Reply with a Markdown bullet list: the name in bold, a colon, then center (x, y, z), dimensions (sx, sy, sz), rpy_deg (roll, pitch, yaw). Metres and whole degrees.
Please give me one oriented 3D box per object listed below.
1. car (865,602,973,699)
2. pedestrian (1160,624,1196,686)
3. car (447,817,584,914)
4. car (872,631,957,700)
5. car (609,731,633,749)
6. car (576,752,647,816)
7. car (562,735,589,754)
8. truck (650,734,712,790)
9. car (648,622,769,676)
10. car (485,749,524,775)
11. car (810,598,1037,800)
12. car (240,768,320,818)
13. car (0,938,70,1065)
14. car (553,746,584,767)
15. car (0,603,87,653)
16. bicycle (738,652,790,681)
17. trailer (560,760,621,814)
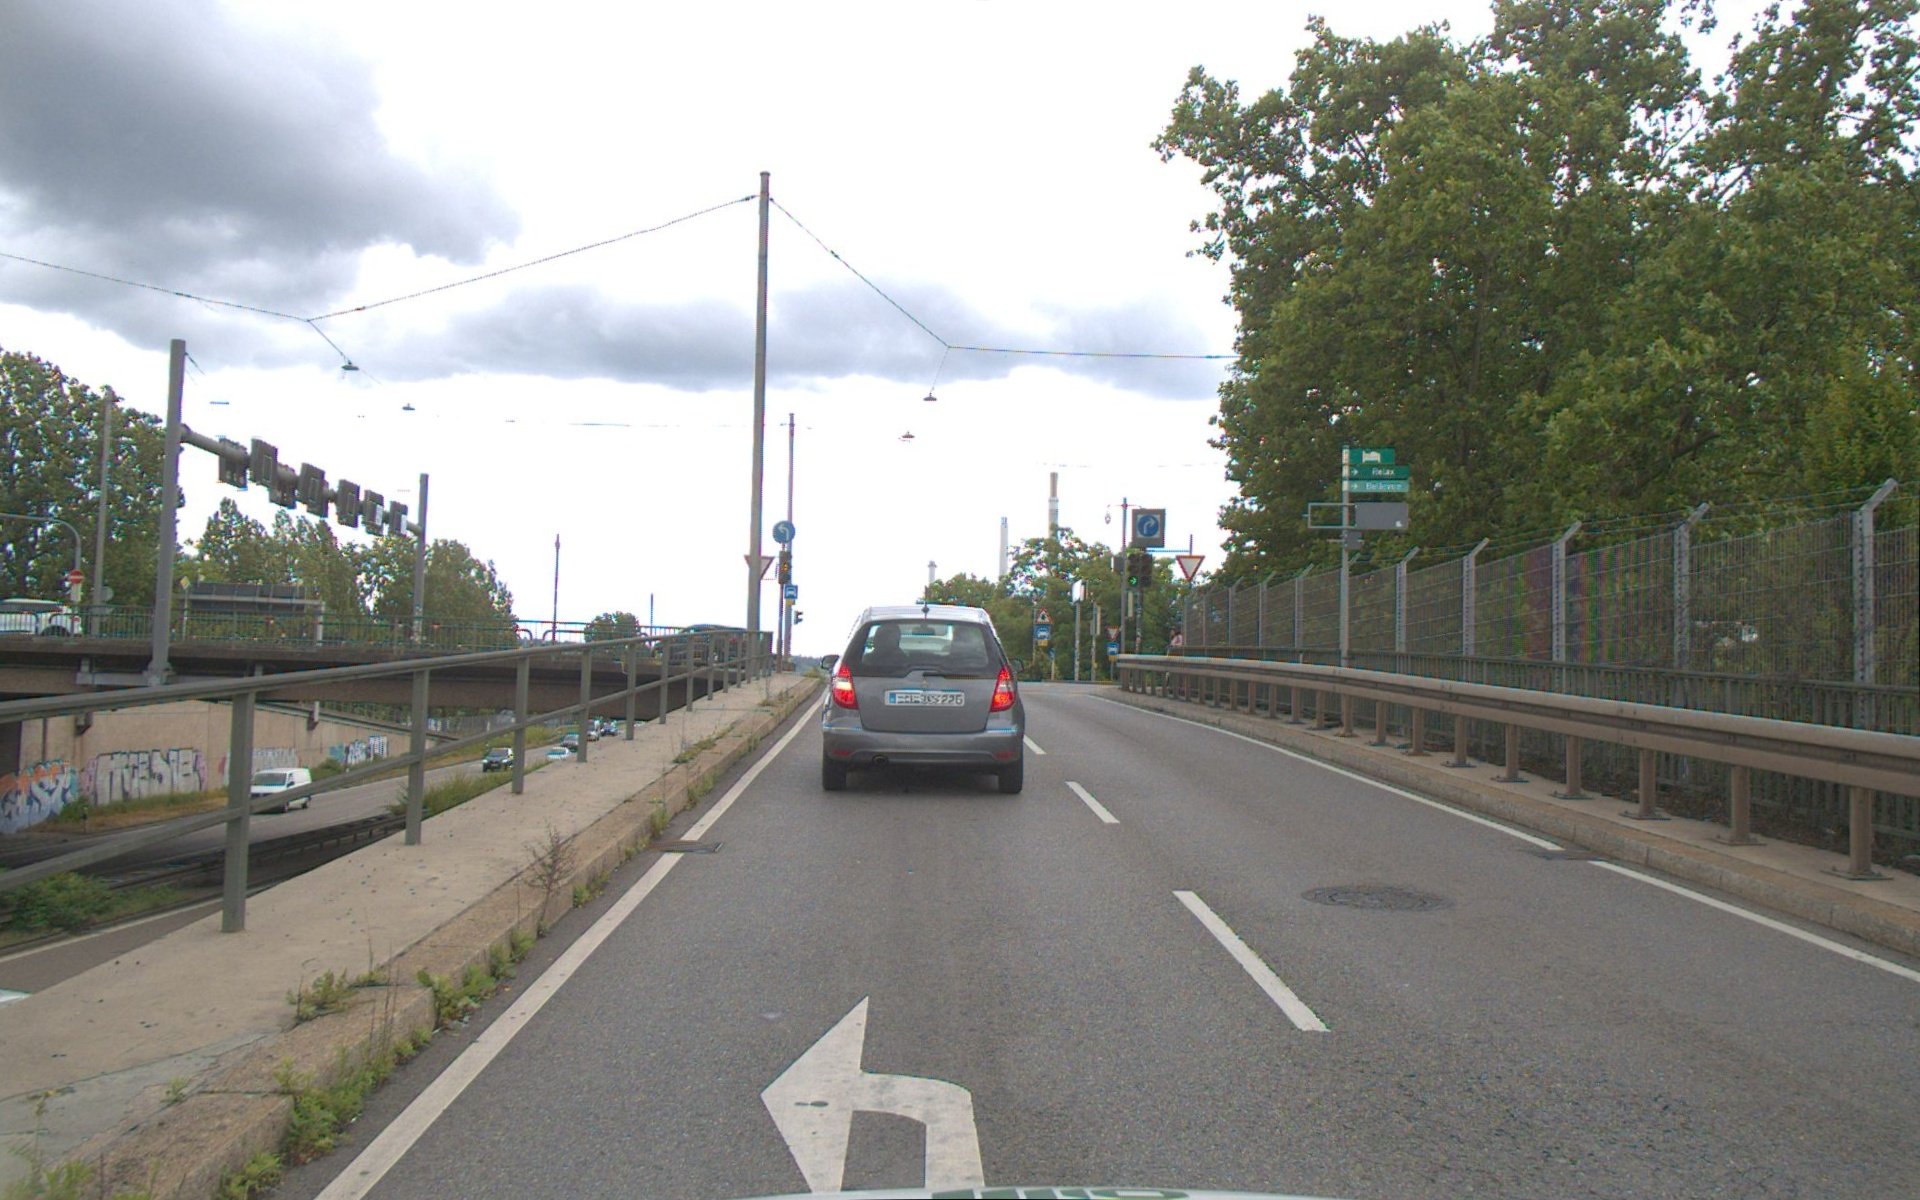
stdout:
- **car**: center (-0.870, 0.952, 32.246), dimensions (1.893, 1.747, 4.401), rpy_deg (1, -1, -4)
- **pedestrian**: center (6.225, 1.583, 47.357), dimensions (0.816, 1.707, 0.978), rpy_deg (1, -4, -6)
- **car**: center (-10.721, 6.396, 40.326), dimensions (1.953, 1.910, 5.196), rpy_deg (1, -5, -1)
- **car**: center (-1.295, 1.759, 45.394), dimensions (1.895, 1.747, 3.993), rpy_deg (1, -1, -7)
- **car**: center (-38.608, 15.929, 188.585), dimensions (1.954, 1.874, 4.420), rpy_deg (1, -4, -3)
- **car**: center (-15.915, 8.385, 75.838), dimensions (1.953, 2.732, 5.930), rpy_deg (1, -5, -1)
- **car**: center (-39.435, 14.850, 169.690), dimensions (1.892, 1.874, 4.406), rpy_deg (0, -4, -3)
- **truck**: center (-17.861, 10.342, 106.203), dimensions (2.690, 3.351, 7.438), rpy_deg (1, -4, -1)
- **car**: center (-8.531, 1.660, 56.366), dimensions (3.909, 1.747, 1.936), rpy_deg (1, -1, -5)
- **car**: center (-34.184, 12.139, 124.237), dimensions (1.877, 1.769, 4.548), rpy_deg (0, -4, -4)
- **car**: center (-0.315, 0.829, 15.464), dimensions (1.820, 1.616, 3.999), rpy_deg (1, -1, -1)
- **car**: center (-32.842, 9.298, 80.034), dimensions (1.954, 2.103, 5.171), rpy_deg (1, -4, -4)
- **car**: center (-13.892, 5.561, 22.160), dimensions (1.707, 1.477, 4.163), rpy_deg (0, -4, -1)
- **car**: center (-31.606, 12.646, 133.635), dimensions (1.694, 1.555, 4.083), rpy_deg (1, -4, -3)
- **car**: center (-31.212, 0.904, 54.304), dimensions (4.297, 1.604, 1.816), rpy_deg (2, -1, -36)
- **bicycle**: center (-7.994, 2.727, 67.459), dimensions (1.998, 1.144, 0.926), rpy_deg (1, -1, -14)
- **trailer**: center (-15.816, 7.991, 70.994), dimensions (1.693, 2.167, 3.934), rpy_deg (1, -5, -1)
